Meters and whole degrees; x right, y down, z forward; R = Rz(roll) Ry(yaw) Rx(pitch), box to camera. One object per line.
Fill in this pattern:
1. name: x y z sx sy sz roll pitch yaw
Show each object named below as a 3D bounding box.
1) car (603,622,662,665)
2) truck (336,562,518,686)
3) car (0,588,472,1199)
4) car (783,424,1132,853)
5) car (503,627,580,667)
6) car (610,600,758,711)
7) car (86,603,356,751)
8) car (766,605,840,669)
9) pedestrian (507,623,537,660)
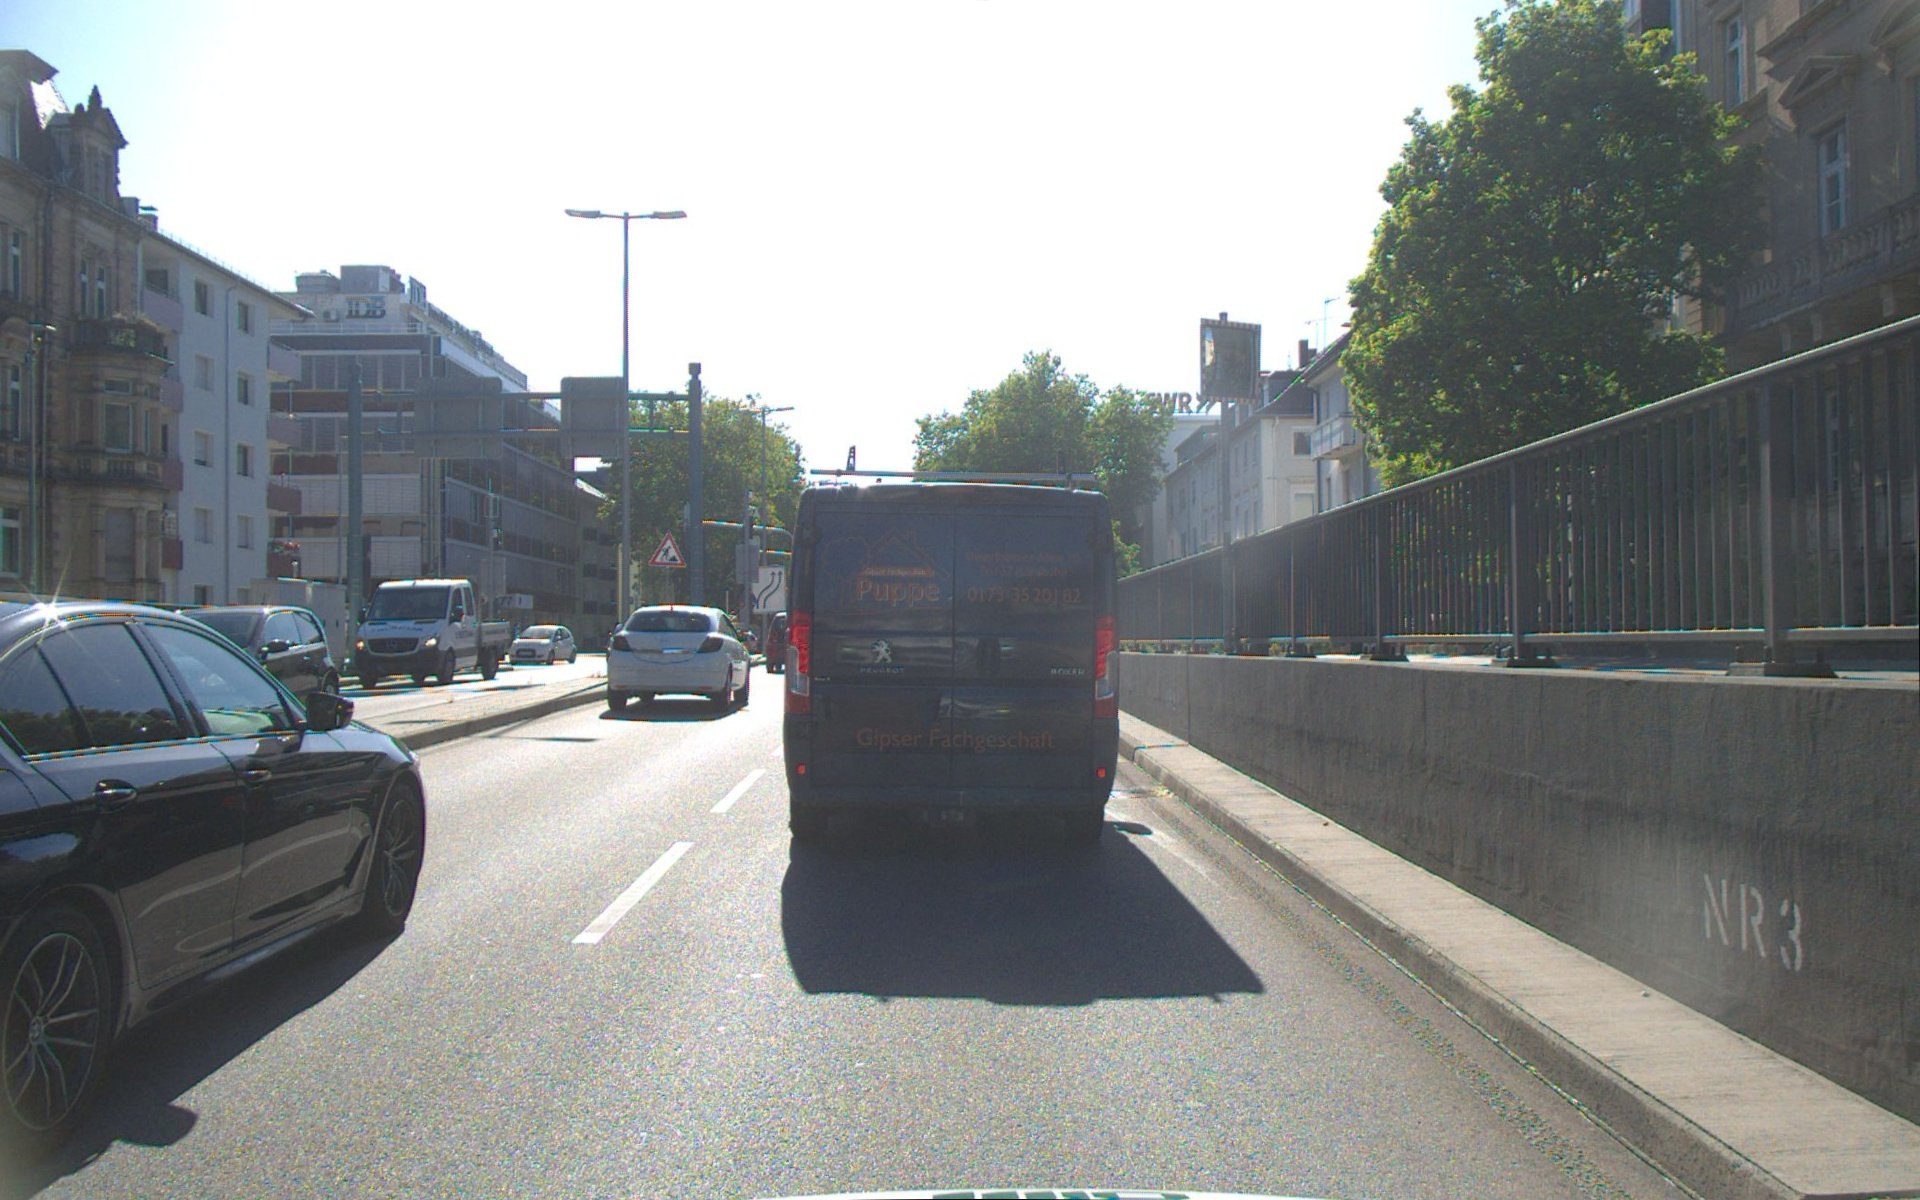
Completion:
1. car: -12.323 1.620 62.357 1.559 1.470 3.494 -3 -1 -2
2. truck: -12.129 0.562 38.170 2.183 2.572 6.128 -2 -1 0
3. car: -3.193 0.694 5.518 1.772 1.464 5.000 1 0 -2
4. car: -0.055 0.245 11.448 1.989 2.445 3.971 0 -1 -1
5. car: -15.928 1.766 63.115 1.640 1.434 3.618 0 -1 8
6. car: -3.929 0.745 24.067 1.586 1.428 3.851 1 0 -2
7. car: -8.532 0.832 19.425 1.577 1.483 3.607 -3 0 -2
8. car: -3.962 0.925 42.224 1.655 1.509 3.317 1 0 -2
9. pedestrian: -23.933 2.269 90.424 1.305 1.965 1.025 1 -1 -1
